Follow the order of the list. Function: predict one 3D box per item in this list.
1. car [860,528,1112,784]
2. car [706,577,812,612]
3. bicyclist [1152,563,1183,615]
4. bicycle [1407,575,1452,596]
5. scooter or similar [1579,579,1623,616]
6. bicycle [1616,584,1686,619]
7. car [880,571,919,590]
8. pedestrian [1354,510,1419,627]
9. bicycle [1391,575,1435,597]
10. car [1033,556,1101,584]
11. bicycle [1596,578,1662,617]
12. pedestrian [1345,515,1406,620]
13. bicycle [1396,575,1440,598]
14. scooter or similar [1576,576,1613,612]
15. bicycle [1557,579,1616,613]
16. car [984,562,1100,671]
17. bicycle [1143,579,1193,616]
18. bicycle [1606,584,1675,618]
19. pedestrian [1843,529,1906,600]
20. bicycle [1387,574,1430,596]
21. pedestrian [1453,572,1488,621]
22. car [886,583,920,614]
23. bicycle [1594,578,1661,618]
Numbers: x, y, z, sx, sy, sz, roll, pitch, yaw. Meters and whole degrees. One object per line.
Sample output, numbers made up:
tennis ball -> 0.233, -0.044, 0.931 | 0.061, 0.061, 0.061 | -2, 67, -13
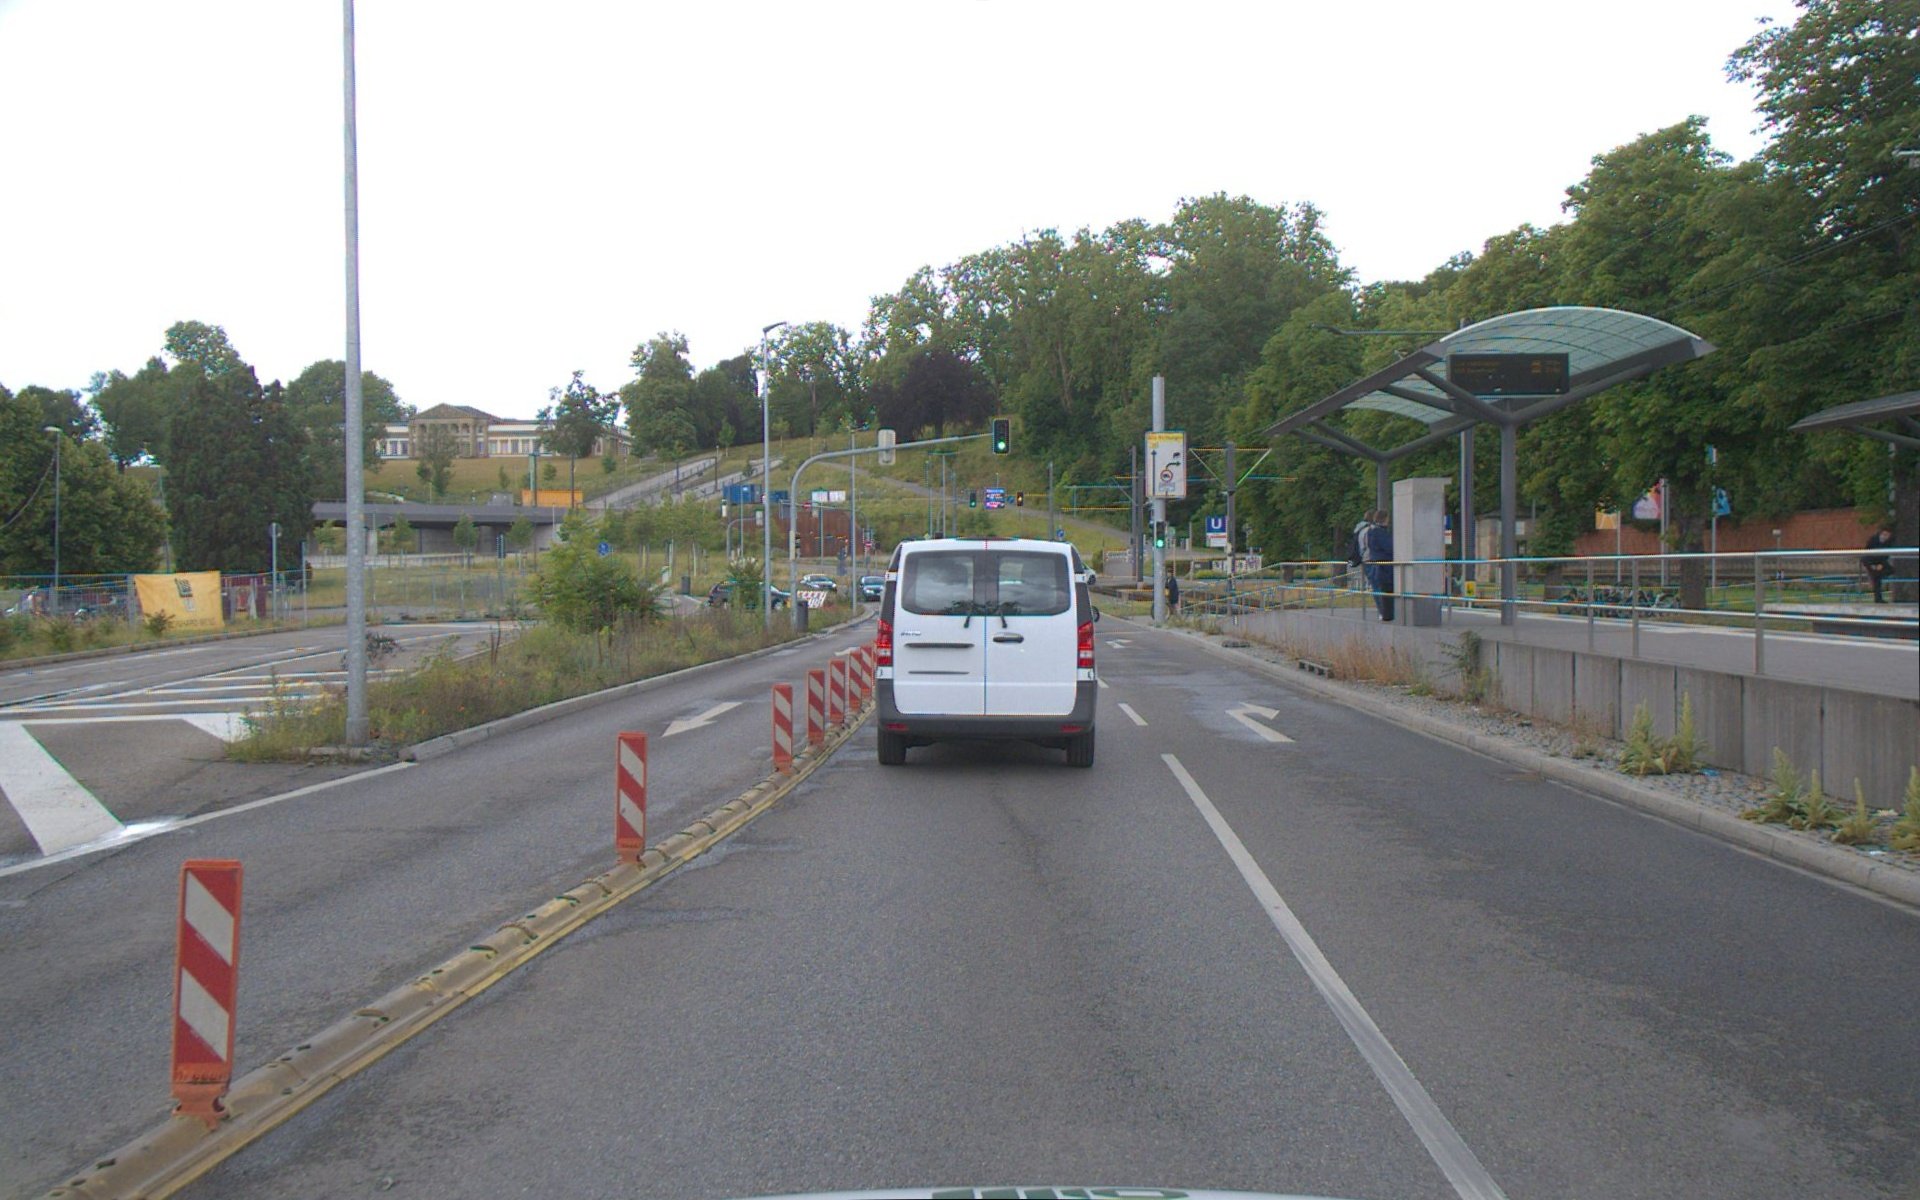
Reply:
car -> 0.358, 0.401, 15.051 | 1.918, 1.937, 4.464 | 1, 1, 4
car -> -9.685, -0.273, 79.797 | 4.608, 1.503, 2.002 | -1, 2, 11
bicyclist -> 6.588, -0.353, 52.417 | 0.798, 1.599, 0.610 | -2, 2, -39
bicycle -> 21.276, -0.656, 74.912 | 1.872, 0.911, 0.531 | -1, 1, 1
scooter or similar -> 20.682, -0.089, 53.406 | 1.247, 1.159, 0.333 | 2, 0, 8
bicycle -> 20.684, 0.046, 49.539 | 1.834, 0.980, 0.533 | 2, 0, 1
car -> -5.336, -1.748, 145.509 | 1.914, 1.655, 3.966 | 0, 1, -27
pedestrian -> 6.421, -0.484, 24.928 | 0.754, 1.728, 0.732 | 2, 2, 2
bicycle -> 21.010, -0.644, 76.678 | 1.872, 0.992, 0.531 | -1, 1, 1
car -> 7.928, -2.221, 122.428 | 5.110, 2.049, 2.173 | 0, 1, -43
bicycle -> 21.046, -0.070, 52.023 | 1.834, 1.159, 0.533 | 2, 0, 1
pedestrian -> 6.447, -0.512, 25.702 | 0.735, 1.580, 0.775 | 2, 2, 2
bicycle -> 21.047, -0.636, 76.030 | 1.872, 0.992, 0.531 | -1, 1, 1
scooter or similar -> 21.296, -0.193, 55.518 | 1.139, 1.159, 0.333 | 2, 0, 25
bicycle -> 20.608, -0.127, 54.410 | 1.727, 1.051, 0.484 | 2, 0, 1
car -> 1.372, 0.236, 29.194 | 1.801, 1.759, 4.062 | 1, 1, 0
bicycle -> 6.600, -0.082, 52.433 | 1.667, 1.092, 0.612 | -2, 3, -39
bicycle -> 20.677, 0.027, 50.266 | 1.834, 0.980, 0.533 | 2, 0, 1
pedestrian -> 17.869, -0.687, 32.330 | 0.660, 1.346, 0.968 | 2, 0, 0
bicycle -> 21.060, -0.706, 77.617 | 1.872, 0.992, 0.531 | -1, 1, 1
pedestrian -> 17.439, -0.121, 56.519 | 0.820, 1.637, 0.773 | -2, 1, -21
car -> -2.926, -0.077, 85.265 | 1.558, 1.544, 4.085 | -1, 0, 0
bicycle -> 20.627, -0.064, 51.102 | 1.834, 1.159, 0.533 | 2, 0, 1
